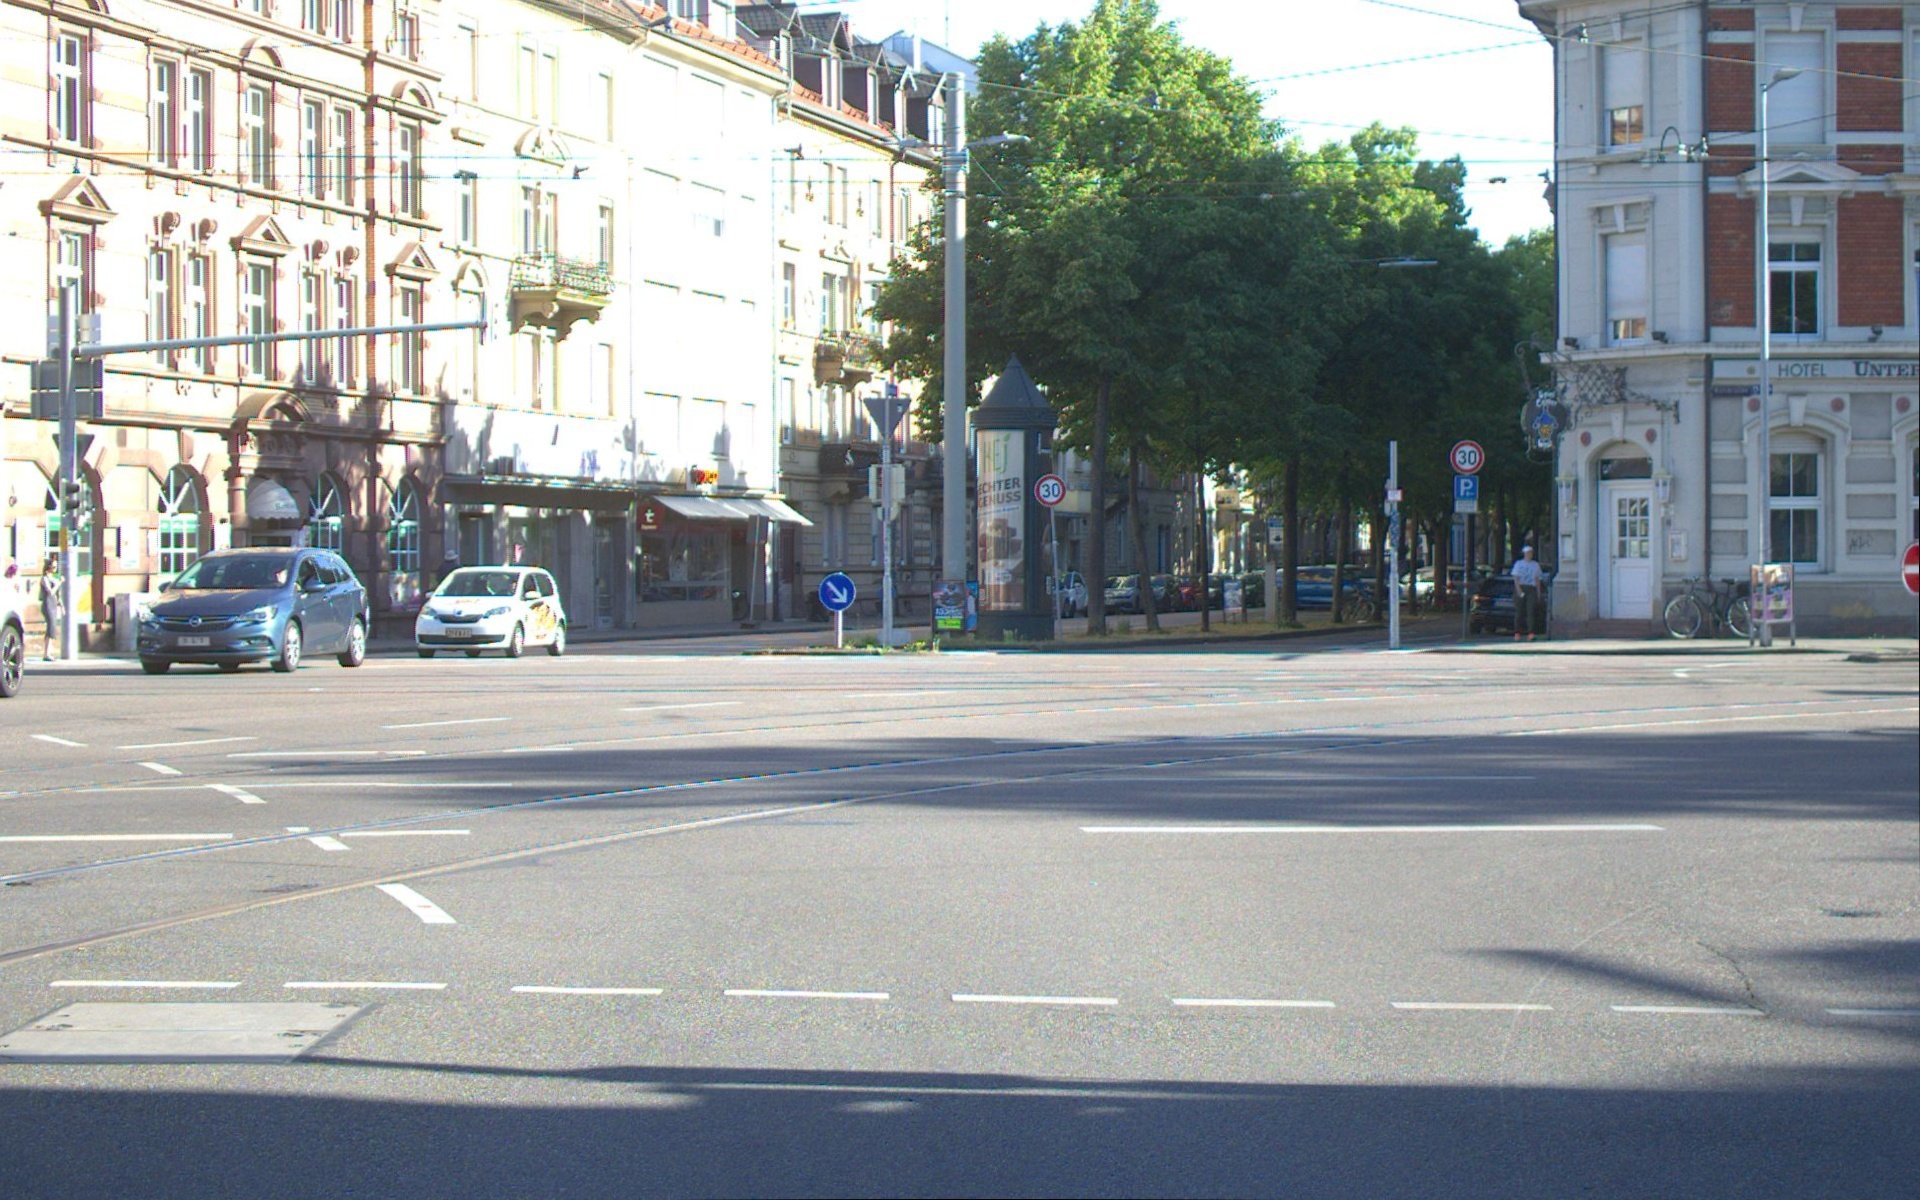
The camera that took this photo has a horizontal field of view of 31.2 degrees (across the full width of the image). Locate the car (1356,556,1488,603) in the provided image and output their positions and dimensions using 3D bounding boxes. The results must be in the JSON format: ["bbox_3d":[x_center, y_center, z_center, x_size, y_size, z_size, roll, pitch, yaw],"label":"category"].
[{"bbox_3d":[15.659,-0.692,116.542,3.994,1.540,1.997,0,1,31],"label":"car"}]

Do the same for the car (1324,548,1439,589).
[{"bbox_3d":[16.445,-1.233,134.144,3.993,1.540,1.997,0,1,28],"label":"car"}]

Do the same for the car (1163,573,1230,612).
[{"bbox_3d":[9.409,-0.310,136.543,1.995,1.492,4.031,0,1,14],"label":"car"}]

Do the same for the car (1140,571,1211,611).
[{"bbox_3d":[8.280,-0.352,131.809,1.995,1.492,4.031,0,1,14],"label":"car"}]

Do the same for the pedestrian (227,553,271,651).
[{"bbox_3d":[-13.388,0.036,64.735,0.580,1.830,0.632,0,1,16],"label":"pedestrian"}]

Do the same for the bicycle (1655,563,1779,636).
[{"bbox_3d":[12.586,-0.012,57.184,1.961,1.186,0.546,0,1,5],"label":"bicycle"}]

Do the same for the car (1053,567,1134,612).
[{"bbox_3d":[4.582,-0.369,117.370,1.995,1.492,4.031,0,1,14],"label":"car"}]

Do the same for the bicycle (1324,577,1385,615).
[{"bbox_3d":[11.376,-0.128,99.261,0.582,1.063,1.949,-1,1,-37],"label":"bicycle"}]

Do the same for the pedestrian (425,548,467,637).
[{"bbox_3d":[-11.108,-0.171,74.283,0.682,1.902,0.632,0,1,16],"label":"pedestrian"}]

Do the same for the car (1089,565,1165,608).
[{"bbox_3d":[5.974,-0.493,122.605,1.995,1.492,4.031,0,1,14],"label":"car"}]

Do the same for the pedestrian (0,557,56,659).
[{"bbox_3d":[-15.176,0.126,55.969,0.675,1.636,0.578,0,1,13],"label":"pedestrian"}]

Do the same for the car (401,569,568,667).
[{"bbox_3d":[-7.600,0.270,55.222,1.718,1.492,3.582,0,1,8],"label":"car"}]

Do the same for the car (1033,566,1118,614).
[{"bbox_3d":[3.806,-0.336,112.884,1.995,1.492,4.031,0,1,14],"label":"car"}]

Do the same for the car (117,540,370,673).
[{"bbox_3d":[-8.428,0.033,40.841,1.774,1.492,4.573,0,1,4],"label":"car"}]

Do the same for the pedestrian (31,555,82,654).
[{"bbox_3d":[-15.041,0.065,57.220,0.631,1.636,0.552,0,1,13],"label":"pedestrian"}]

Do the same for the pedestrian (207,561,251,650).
[{"bbox_3d":[-13.538,0.099,63.653,0.551,1.636,0.632,0,1,18],"label":"pedestrian"}]

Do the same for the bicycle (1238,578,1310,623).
[{"bbox_3d":[7.546,0.009,82.768,0.582,1.063,1.949,-1,1,-37],"label":"bicycle"}]

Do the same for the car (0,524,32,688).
[{"bbox_3d":[-9.772,0.079,30.110,1.993,1.492,4.347,0,1,2],"label":"car"}]

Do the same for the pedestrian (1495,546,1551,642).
[{"bbox_3d":[9.855,-0.117,60.209,0.715,1.664,0.939,0,1,-8],"label":"pedestrian"}]

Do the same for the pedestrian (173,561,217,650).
[{"bbox_3d":[-14.214,0.095,63.886,0.627,1.636,0.537,0,1,13],"label":"pedestrian"}]

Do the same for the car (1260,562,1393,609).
[{"bbox_3d":[12.318,-0.482,115.674,3.993,1.540,1.997,0,1,28],"label":"car"}]

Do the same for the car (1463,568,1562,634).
[{"bbox_3d":[13.269,0.001,82.426,1.995,1.492,4.031,0,1,14],"label":"car"}]

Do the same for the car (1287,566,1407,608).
[{"bbox_3d":[14.440,-0.491,128.315,3.993,1.540,1.997,0,1,28],"label":"car"}]
